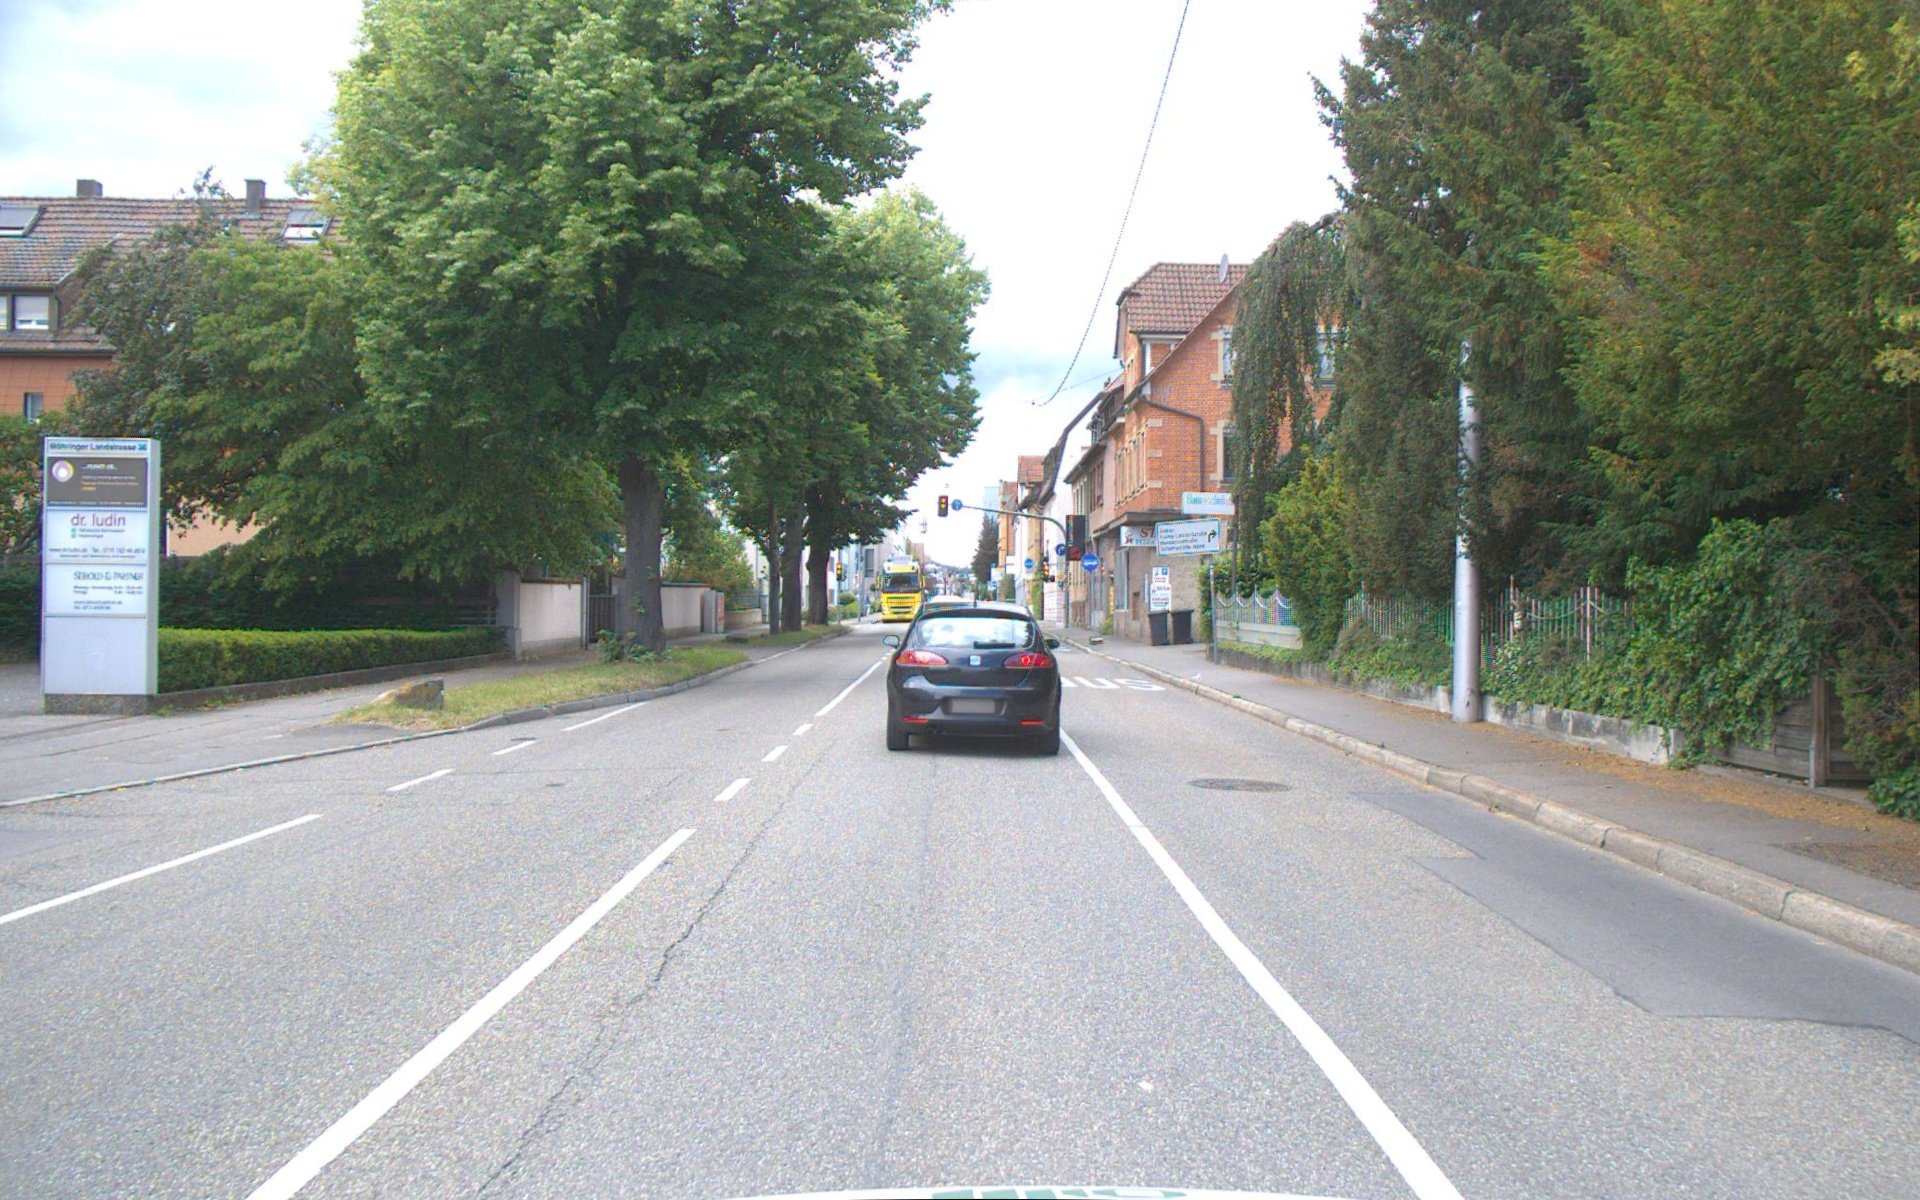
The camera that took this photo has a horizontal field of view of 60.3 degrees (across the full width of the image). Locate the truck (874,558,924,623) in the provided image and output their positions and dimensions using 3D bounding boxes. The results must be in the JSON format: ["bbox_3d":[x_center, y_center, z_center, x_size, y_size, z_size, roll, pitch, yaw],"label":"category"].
[{"bbox_3d":[-3.788,-0.555,104.431,2.785,3.848,7.669,1,0,0],"label":"truck"}]

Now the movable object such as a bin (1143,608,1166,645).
[{"bbox_3d":[5.943,0.806,50.555,0.594,1.120,0.622,-2,-1,0],"label":"movable object such as a bin"}]

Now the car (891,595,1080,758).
[{"bbox_3d":[0.229,0.719,17.291,1.723,1.467,3.999,1,0,0],"label":"car"}]

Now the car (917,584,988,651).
[{"bbox_3d":[-0.215,0.467,45.172,1.805,1.723,3.999,1,0,-1],"label":"car"}]

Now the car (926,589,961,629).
[{"bbox_3d":[-0.730,0.400,74.431,1.500,1.723,3.692,1,0,-1],"label":"car"}]

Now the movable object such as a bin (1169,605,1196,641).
[{"bbox_3d":[6.808,0.714,50.605,0.684,1.077,0.723,-2,-1,0],"label":"movable object such as a bin"}]
